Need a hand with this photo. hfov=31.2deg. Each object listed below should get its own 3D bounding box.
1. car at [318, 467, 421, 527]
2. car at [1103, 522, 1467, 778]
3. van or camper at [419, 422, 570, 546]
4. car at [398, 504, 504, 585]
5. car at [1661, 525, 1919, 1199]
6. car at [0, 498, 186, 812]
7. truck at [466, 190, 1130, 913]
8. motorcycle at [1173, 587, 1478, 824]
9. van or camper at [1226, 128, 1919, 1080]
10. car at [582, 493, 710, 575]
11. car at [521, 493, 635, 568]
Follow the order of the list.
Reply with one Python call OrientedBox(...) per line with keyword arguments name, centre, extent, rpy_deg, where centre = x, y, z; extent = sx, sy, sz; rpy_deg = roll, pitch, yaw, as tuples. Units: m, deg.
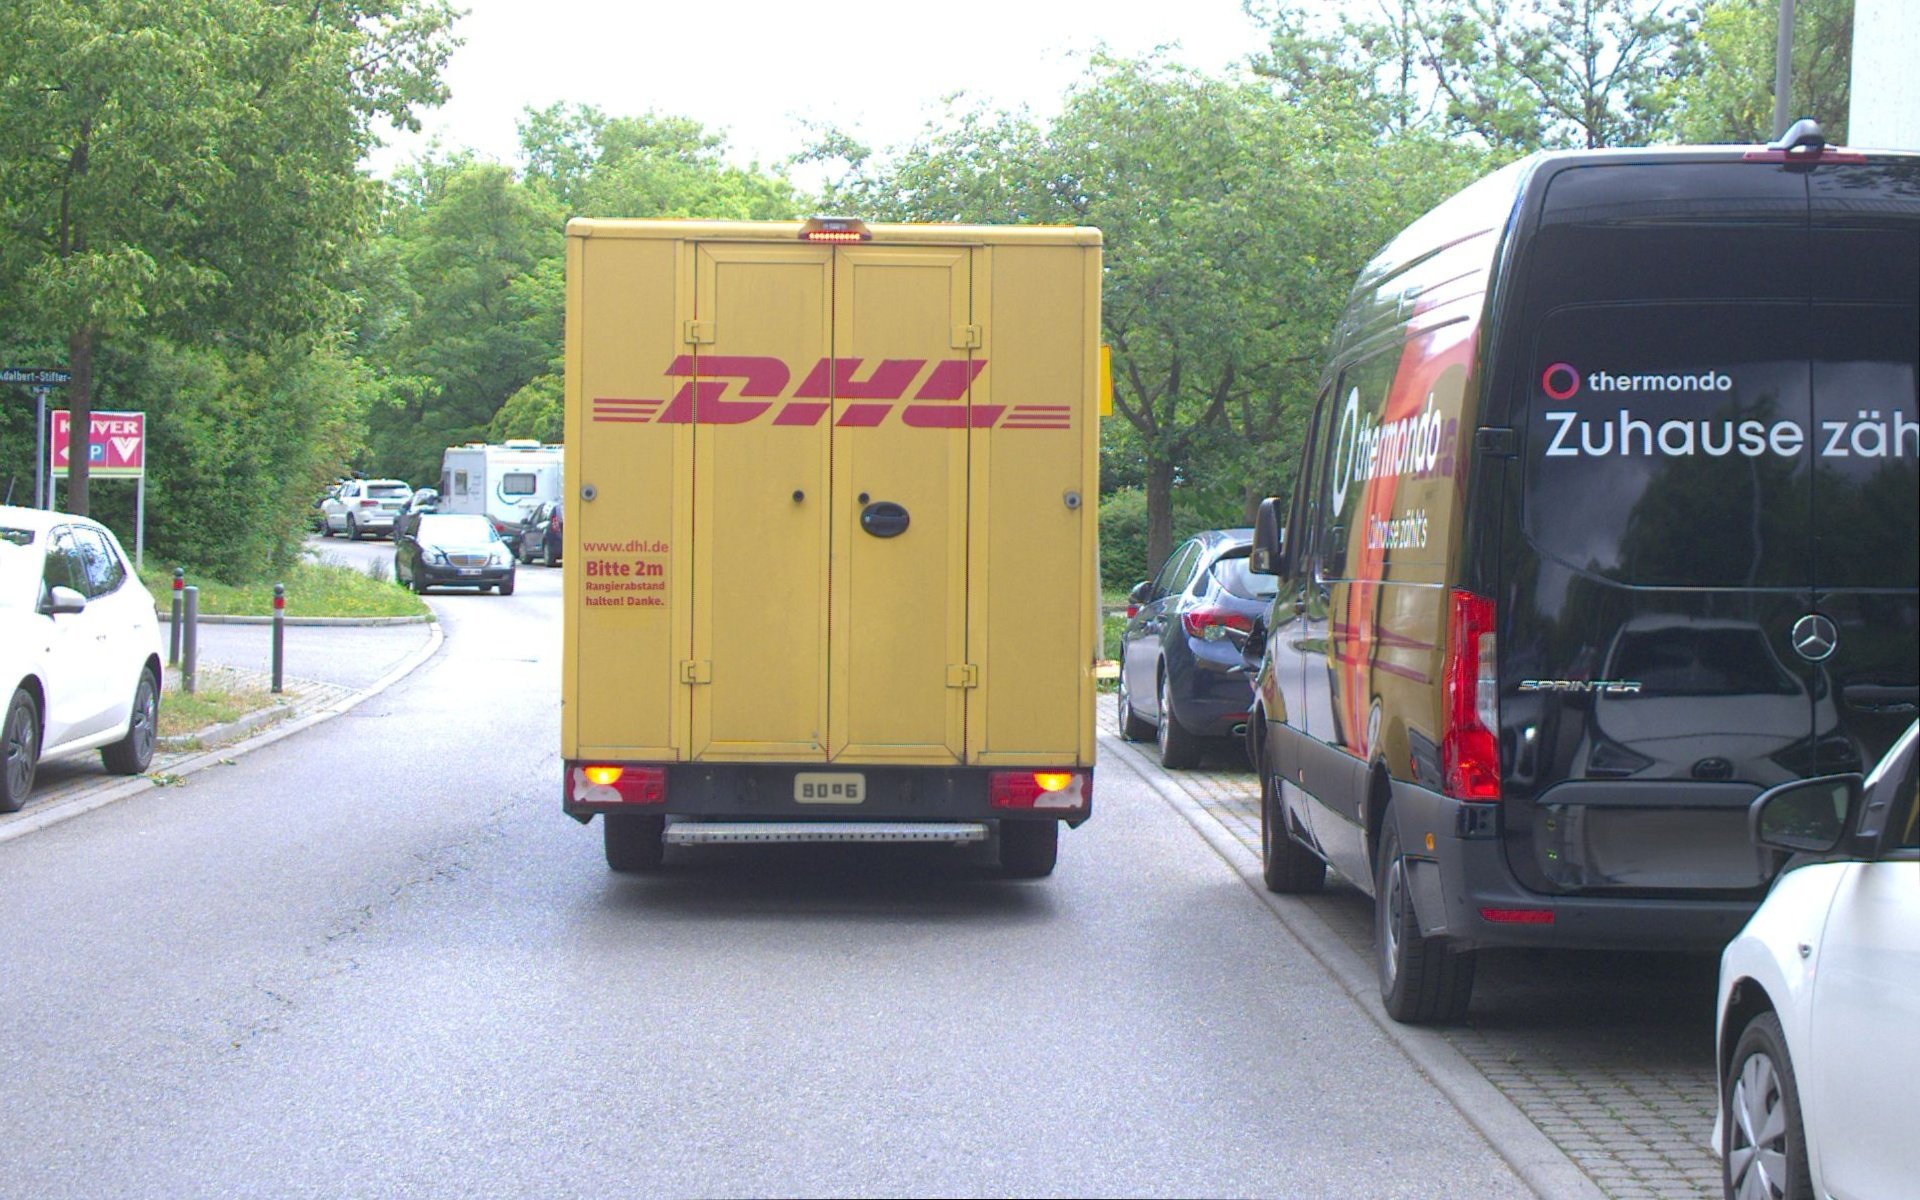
OrientedBox(name="car", centre=(-17.163, -2.999, 99.870), extent=(1.843, 1.524, 4.001), rpy_deg=(1, 3, -26))
OrientedBox(name="car", centre=(1.997, 0.268, 22.218), extent=(1.728, 1.428, 3.969), rpy_deg=(3, 1, -3))
OrientedBox(name="van or camper", centre=(-11.905, -2.999, 87.589), extent=(2.323, 2.862, 5.262), rpy_deg=(2, 3, -24))
OrientedBox(name="car", centre=(-9.281, -1.044, 62.914), extent=(1.674, 1.350, 3.970), rpy_deg=(3, 2, -6))
OrientedBox(name="car", centre=(2.359, 0.651, 5.669), extent=(1.562, 1.491, 3.331), rpy_deg=(1, 2, -3))
OrientedBox(name="car", centre=(-5.321, 0.189, 17.892), extent=(1.674, 1.431, 3.970), rpy_deg=(3, 2, -1))
OrientedBox(name="truck", centre=(-0.764, -0.275, 16.488), extent=(2.466, 2.693, 6.825), rpy_deg=(1, 2, -3))
OrientedBox(name="motorcycle", centre=(1.875, 0.522, 18.012), extent=(0.898, 1.107, 2.086), rpy_deg=(2, 1, -14))
OrientedBox(name="van or camper", centre=(2.165, -0.040, 11.824), extent=(1.993, 2.514, 5.471), rpy_deg=(0, 1, -1))
OrientedBox(name="car", centre=(-6.746, -1.433, 73.596), extent=(1.843, 1.524, 4.002), rpy_deg=(2, 3, -18))
OrientedBox(name="car", centre=(-9.012, -1.654, 80.837), extent=(1.843, 1.524, 4.002), rpy_deg=(2, 3, -18))
